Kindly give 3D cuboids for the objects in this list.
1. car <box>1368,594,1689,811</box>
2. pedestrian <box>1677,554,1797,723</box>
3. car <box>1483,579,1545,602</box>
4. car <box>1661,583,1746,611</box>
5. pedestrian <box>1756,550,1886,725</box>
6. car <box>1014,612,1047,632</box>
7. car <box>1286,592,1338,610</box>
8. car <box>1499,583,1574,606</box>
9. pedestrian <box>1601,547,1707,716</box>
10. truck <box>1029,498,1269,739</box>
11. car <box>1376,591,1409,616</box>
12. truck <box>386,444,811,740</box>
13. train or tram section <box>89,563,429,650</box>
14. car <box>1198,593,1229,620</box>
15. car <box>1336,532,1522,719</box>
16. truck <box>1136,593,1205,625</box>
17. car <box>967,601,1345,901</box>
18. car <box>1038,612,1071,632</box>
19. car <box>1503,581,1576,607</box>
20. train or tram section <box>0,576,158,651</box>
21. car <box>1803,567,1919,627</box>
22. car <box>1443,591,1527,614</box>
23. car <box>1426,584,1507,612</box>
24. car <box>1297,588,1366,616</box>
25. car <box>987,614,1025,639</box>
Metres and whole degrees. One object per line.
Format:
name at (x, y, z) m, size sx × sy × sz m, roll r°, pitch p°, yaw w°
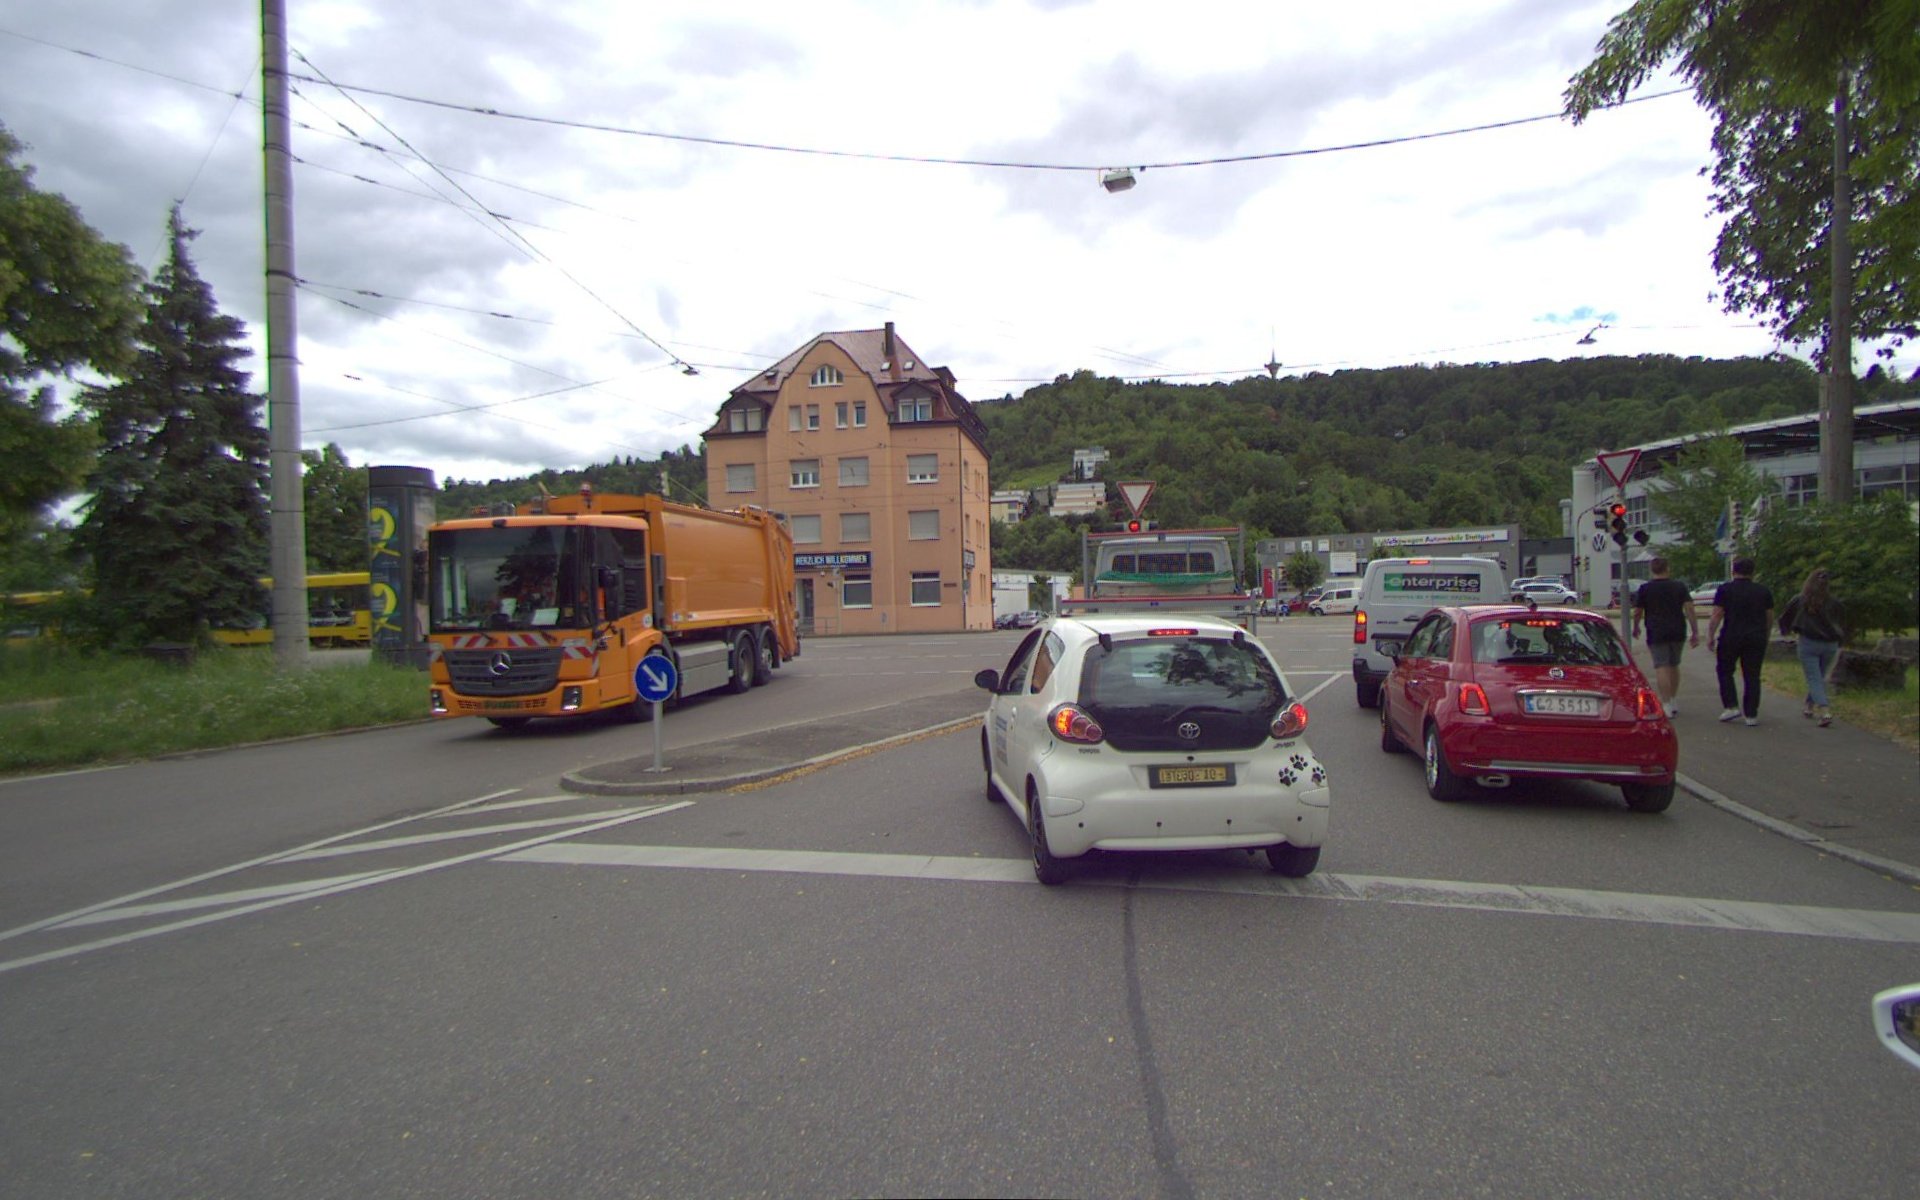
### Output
car at (4.614, 0.704, 8.677) m, size 1.611 × 1.476 × 3.432 m, roll -1°, pitch 0°, yaw 16°
pedestrian at (8.375, 0.407, 10.865) m, size 0.681 × 1.737 × 0.789 m, roll -2°, pitch 0°, yaw 8°
car at (48.535, -0.848, 88.056) m, size 4.726 × 1.827 × 1.772 m, roll -2°, pitch 0°, yaw 30°
car at (42.851, -0.157, 57.987) m, size 1.741 × 1.520 × 4.020 m, roll -2°, pitch 0°, yaw -4°
pedestrian at (9.057, 0.388, 10.598) m, size 0.681 × 1.763 × 0.789 m, roll -2°, pitch 0°, yaw 8°
car at (6.163, 1.929, 87.455) m, size 1.750 × 1.539 × 3.628 m, roll -1°, pitch 1°, yaw 22°
car at (31.183, 0.089, 89.020) m, size 4.019 × 1.553 × 1.771 m, roll -2°, pitch 0°, yaw 31°
car at (42.485, -0.392, 74.133) m, size 4.726 × 1.553 × 1.772 m, roll -2°, pitch 0°, yaw 30°
pedestrian at (8.052, 0.361, 11.683) m, size 0.681 × 1.882 × 0.789 m, roll -2°, pitch 0°, yaw 8°
truck at (2.621, 0.226, 13.364) m, size 2.381 × 2.429 × 6.032 m, roll -2°, pitch 0°, yaw 13°
car at (32.978, 0.237, 76.524) m, size 1.964 × 1.840 × 3.994 m, roll -2°, pitch 0°, yaw 28°
truck at (-5.203, -0.133, 17.466) m, size 2.741 × 3.574 × 10.426 m, roll 0°, pitch 1°, yaw 5°
train or tram section at (-34.779, 0.436, 49.462) m, size 18.797 × 3.715 × 3.277 m, roll -2°, pitch 0°, yaw 19°
car at (18.285, 0.473, 72.360) m, size 1.829 × 1.842 × 4.403 m, roll -2°, pitch 0°, yaw 18°
car at (6.666, 0.306, 14.065) m, size 1.960 × 2.135 × 4.753 m, roll -2°, pitch 0°, yaw 28°
truck at (17.080, 0.725, 81.751) m, size 5.098 × 2.425 × 2.000 m, roll -2°, pitch 0°, yaw -1°
car at (1.023, 0.774, 6.819) m, size 1.613 × 1.451 × 3.428 m, roll -2°, pitch 0°, yaw -5°
car at (8.164, 1.880, 86.521) m, size 1.750 × 1.539 × 3.628 m, roll -1°, pitch 1°, yaw 22°
car at (44.411, -0.467, 77.080) m, size 4.726 × 1.827 × 1.772 m, roll -2°, pitch 0°, yaw 30°
train or tram section at (-52.579, 0.903, 55.468) m, size 18.795 × 3.715 × 3.278 m, roll -2°, pitch 0°, yaw 19°
car at (26.002, -0.132, 27.053) m, size 4.798 × 1.528 × 1.805 m, roll -2°, pitch 1°, yaw 8°
car at (34.703, 0.171, 66.445) m, size 4.618 × 1.345 × 1.766 m, roll -2°, pitch 0°, yaw 41°
car at (29.560, -0.129, 58.674) m, size 3.828 × 1.520 × 1.765 m, roll -2°, pitch 0°, yaw 44°
car at (28.030, 0.168, 75.886) m, size 4.624 × 1.929 × 1.771 m, roll -2°, pitch 0°, yaw 32°
car at (4.079, 2.323, 88.431) m, size 1.962 × 2.041 × 3.997 m, roll -1°, pitch 1°, yaw 23°
